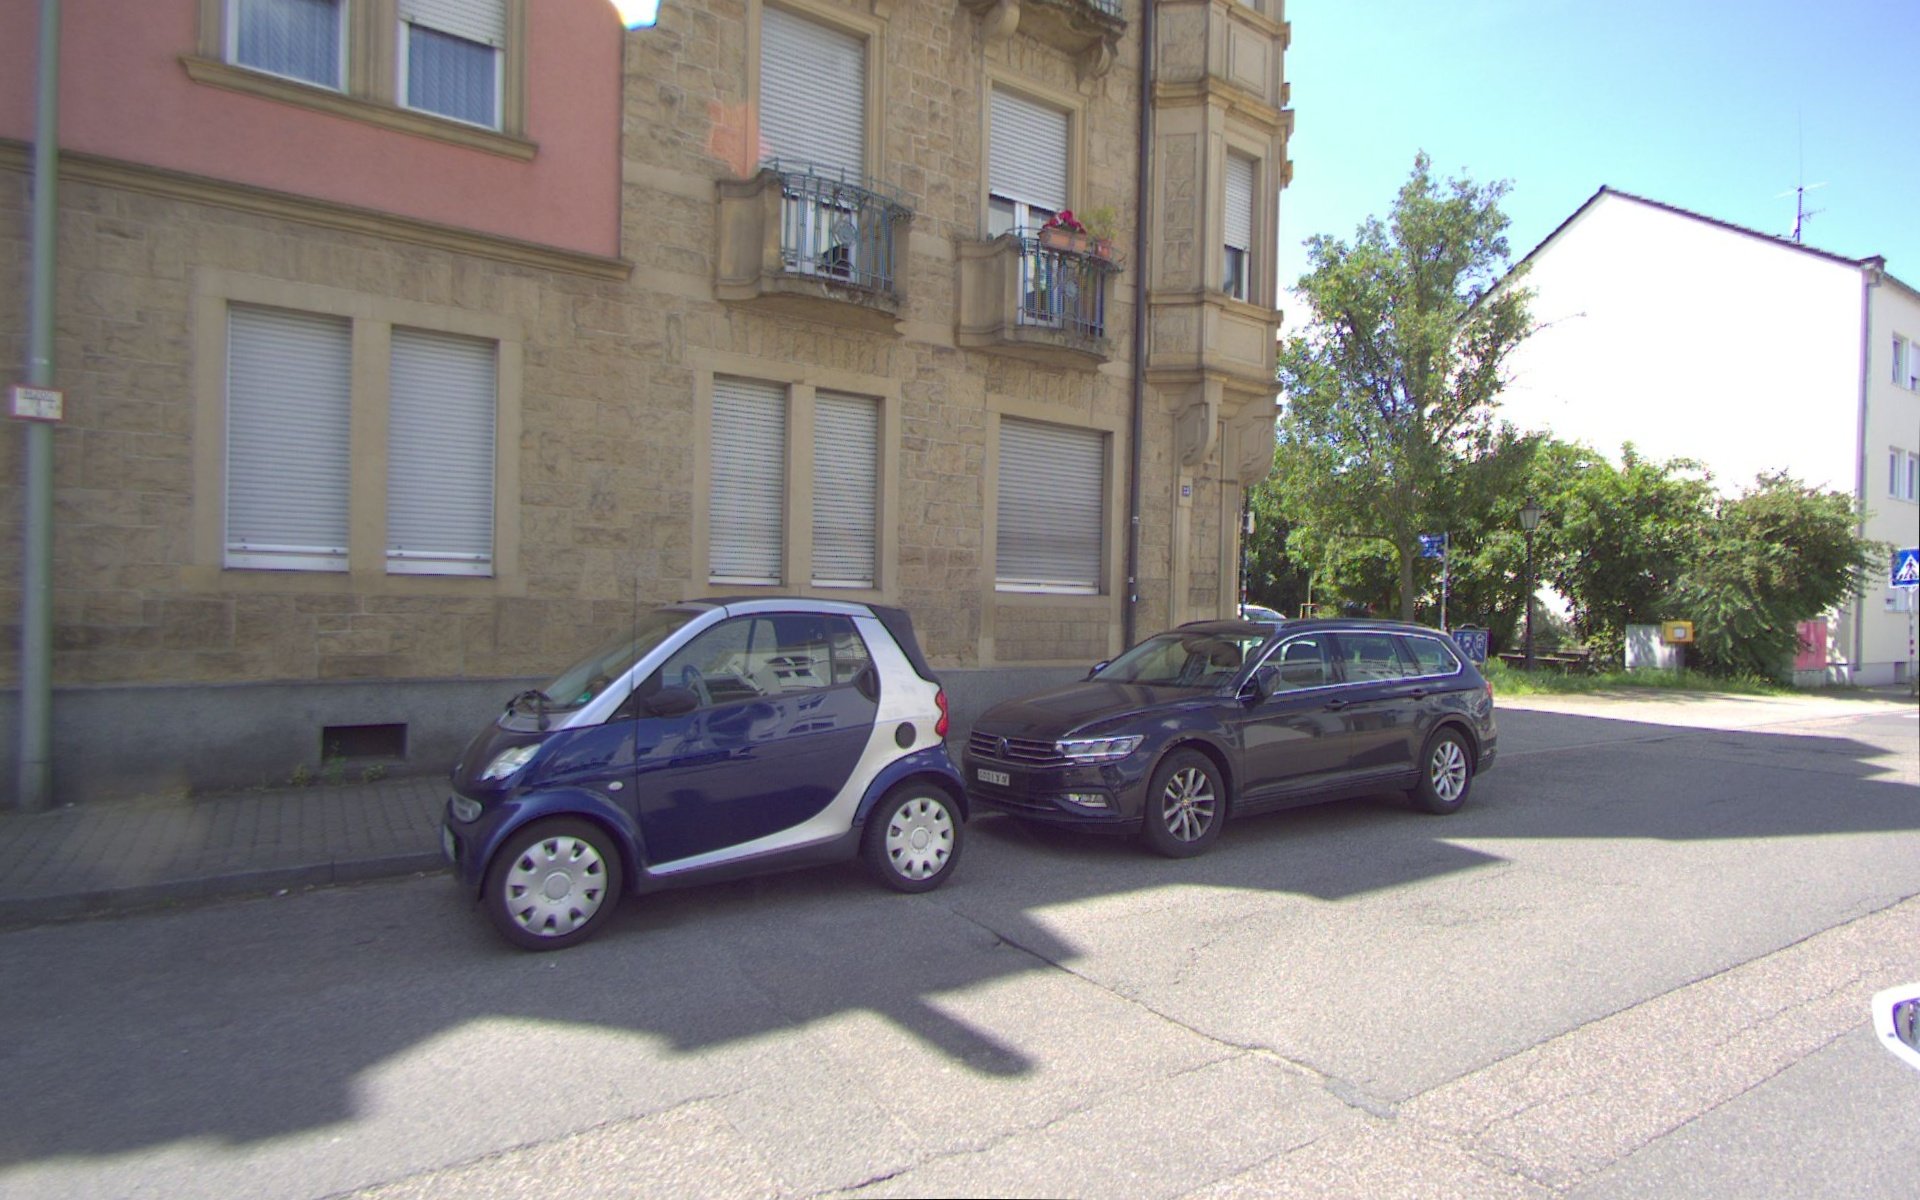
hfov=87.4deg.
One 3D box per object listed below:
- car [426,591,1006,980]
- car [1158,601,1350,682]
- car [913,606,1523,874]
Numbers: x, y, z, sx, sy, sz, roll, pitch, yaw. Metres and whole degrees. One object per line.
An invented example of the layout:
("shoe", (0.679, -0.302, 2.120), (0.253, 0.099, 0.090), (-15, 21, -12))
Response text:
("car", (-1.257, 0.764, 5.327), (2.667, 1.543, 1.428), (1, -1, -33))
("car", (6.419, 0.846, 22.348), (1.845, 1.522, 3.971), (1, 1, -28))
("car", (2.074, 0.827, 7.539), (4.583, 1.477, 1.773), (1, -1, -32))
